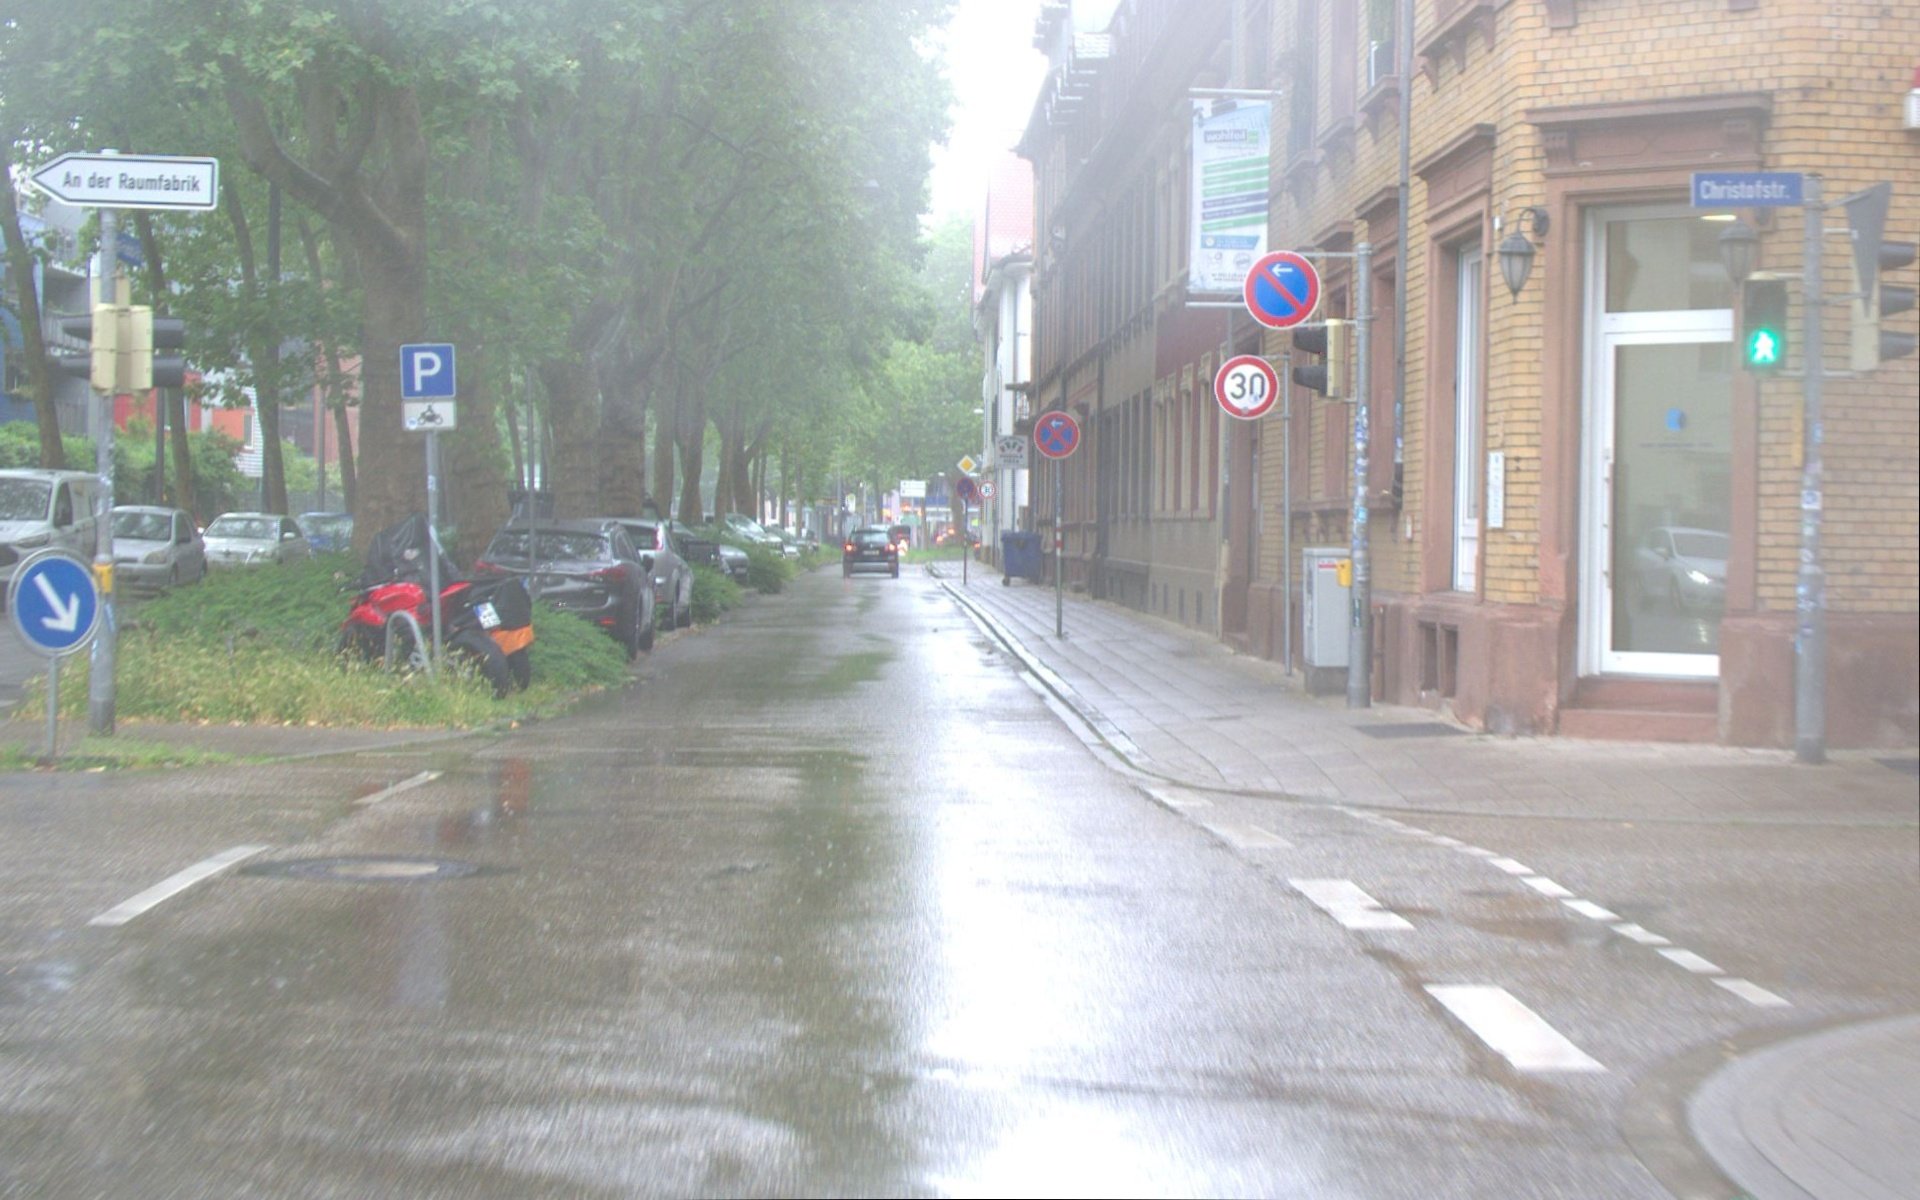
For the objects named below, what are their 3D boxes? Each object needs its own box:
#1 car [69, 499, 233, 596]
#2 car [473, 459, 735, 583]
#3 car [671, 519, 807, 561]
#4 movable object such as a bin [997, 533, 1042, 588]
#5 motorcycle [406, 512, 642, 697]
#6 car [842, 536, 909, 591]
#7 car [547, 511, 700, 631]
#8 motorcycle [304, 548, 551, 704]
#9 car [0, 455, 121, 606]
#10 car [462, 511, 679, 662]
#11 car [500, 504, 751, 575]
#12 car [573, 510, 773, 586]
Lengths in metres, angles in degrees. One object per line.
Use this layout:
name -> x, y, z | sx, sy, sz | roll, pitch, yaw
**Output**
car -> -13.542, -0.902, 57.743 | 1.904, 1.529, 4.216 | 1, 1, -3
car -> -6.735, -1.501, 64.831 | 4.653, 2.275, 2.008 | 1, 1, 32
car -> -7.790, -2.112, 121.302 | 4.553, 1.477, 1.772 | 0, 1, 29
movable object such as a bin -> 1.470, -0.990, 85.397 | 1.021, 1.297, 1.367 | -2, 2, -1
motorcycle -> -3.750, 0.024, 29.418 | 2.108, 1.495, 0.769 | 3, 1, 42
car -> -2.667, -1.150, 108.103 | 1.993, 1.634, 4.000 | 2, 1, -2
car -> -4.591, -0.439, 47.427 | 1.729, 1.509, 4.208 | 2, 1, -1
motorcycle -> -4.461, 0.205, 28.692 | 2.141, 1.205, 0.867 | 3, 1, 43
car -> -13.382, -1.034, 48.571 | 2.053, 1.990, 5.436 | 3, 1, -5
car -> -4.184, -0.195, 37.580 | 1.896, 1.480, 4.622 | 2, 1, -1
car -> -6.589, -1.198, 67.617 | 4.652, 1.321, 1.844 | 1, 1, 26
car -> -6.370, -1.158, 76.216 | 4.059, 1.532, 1.832 | 3, 2, 29
